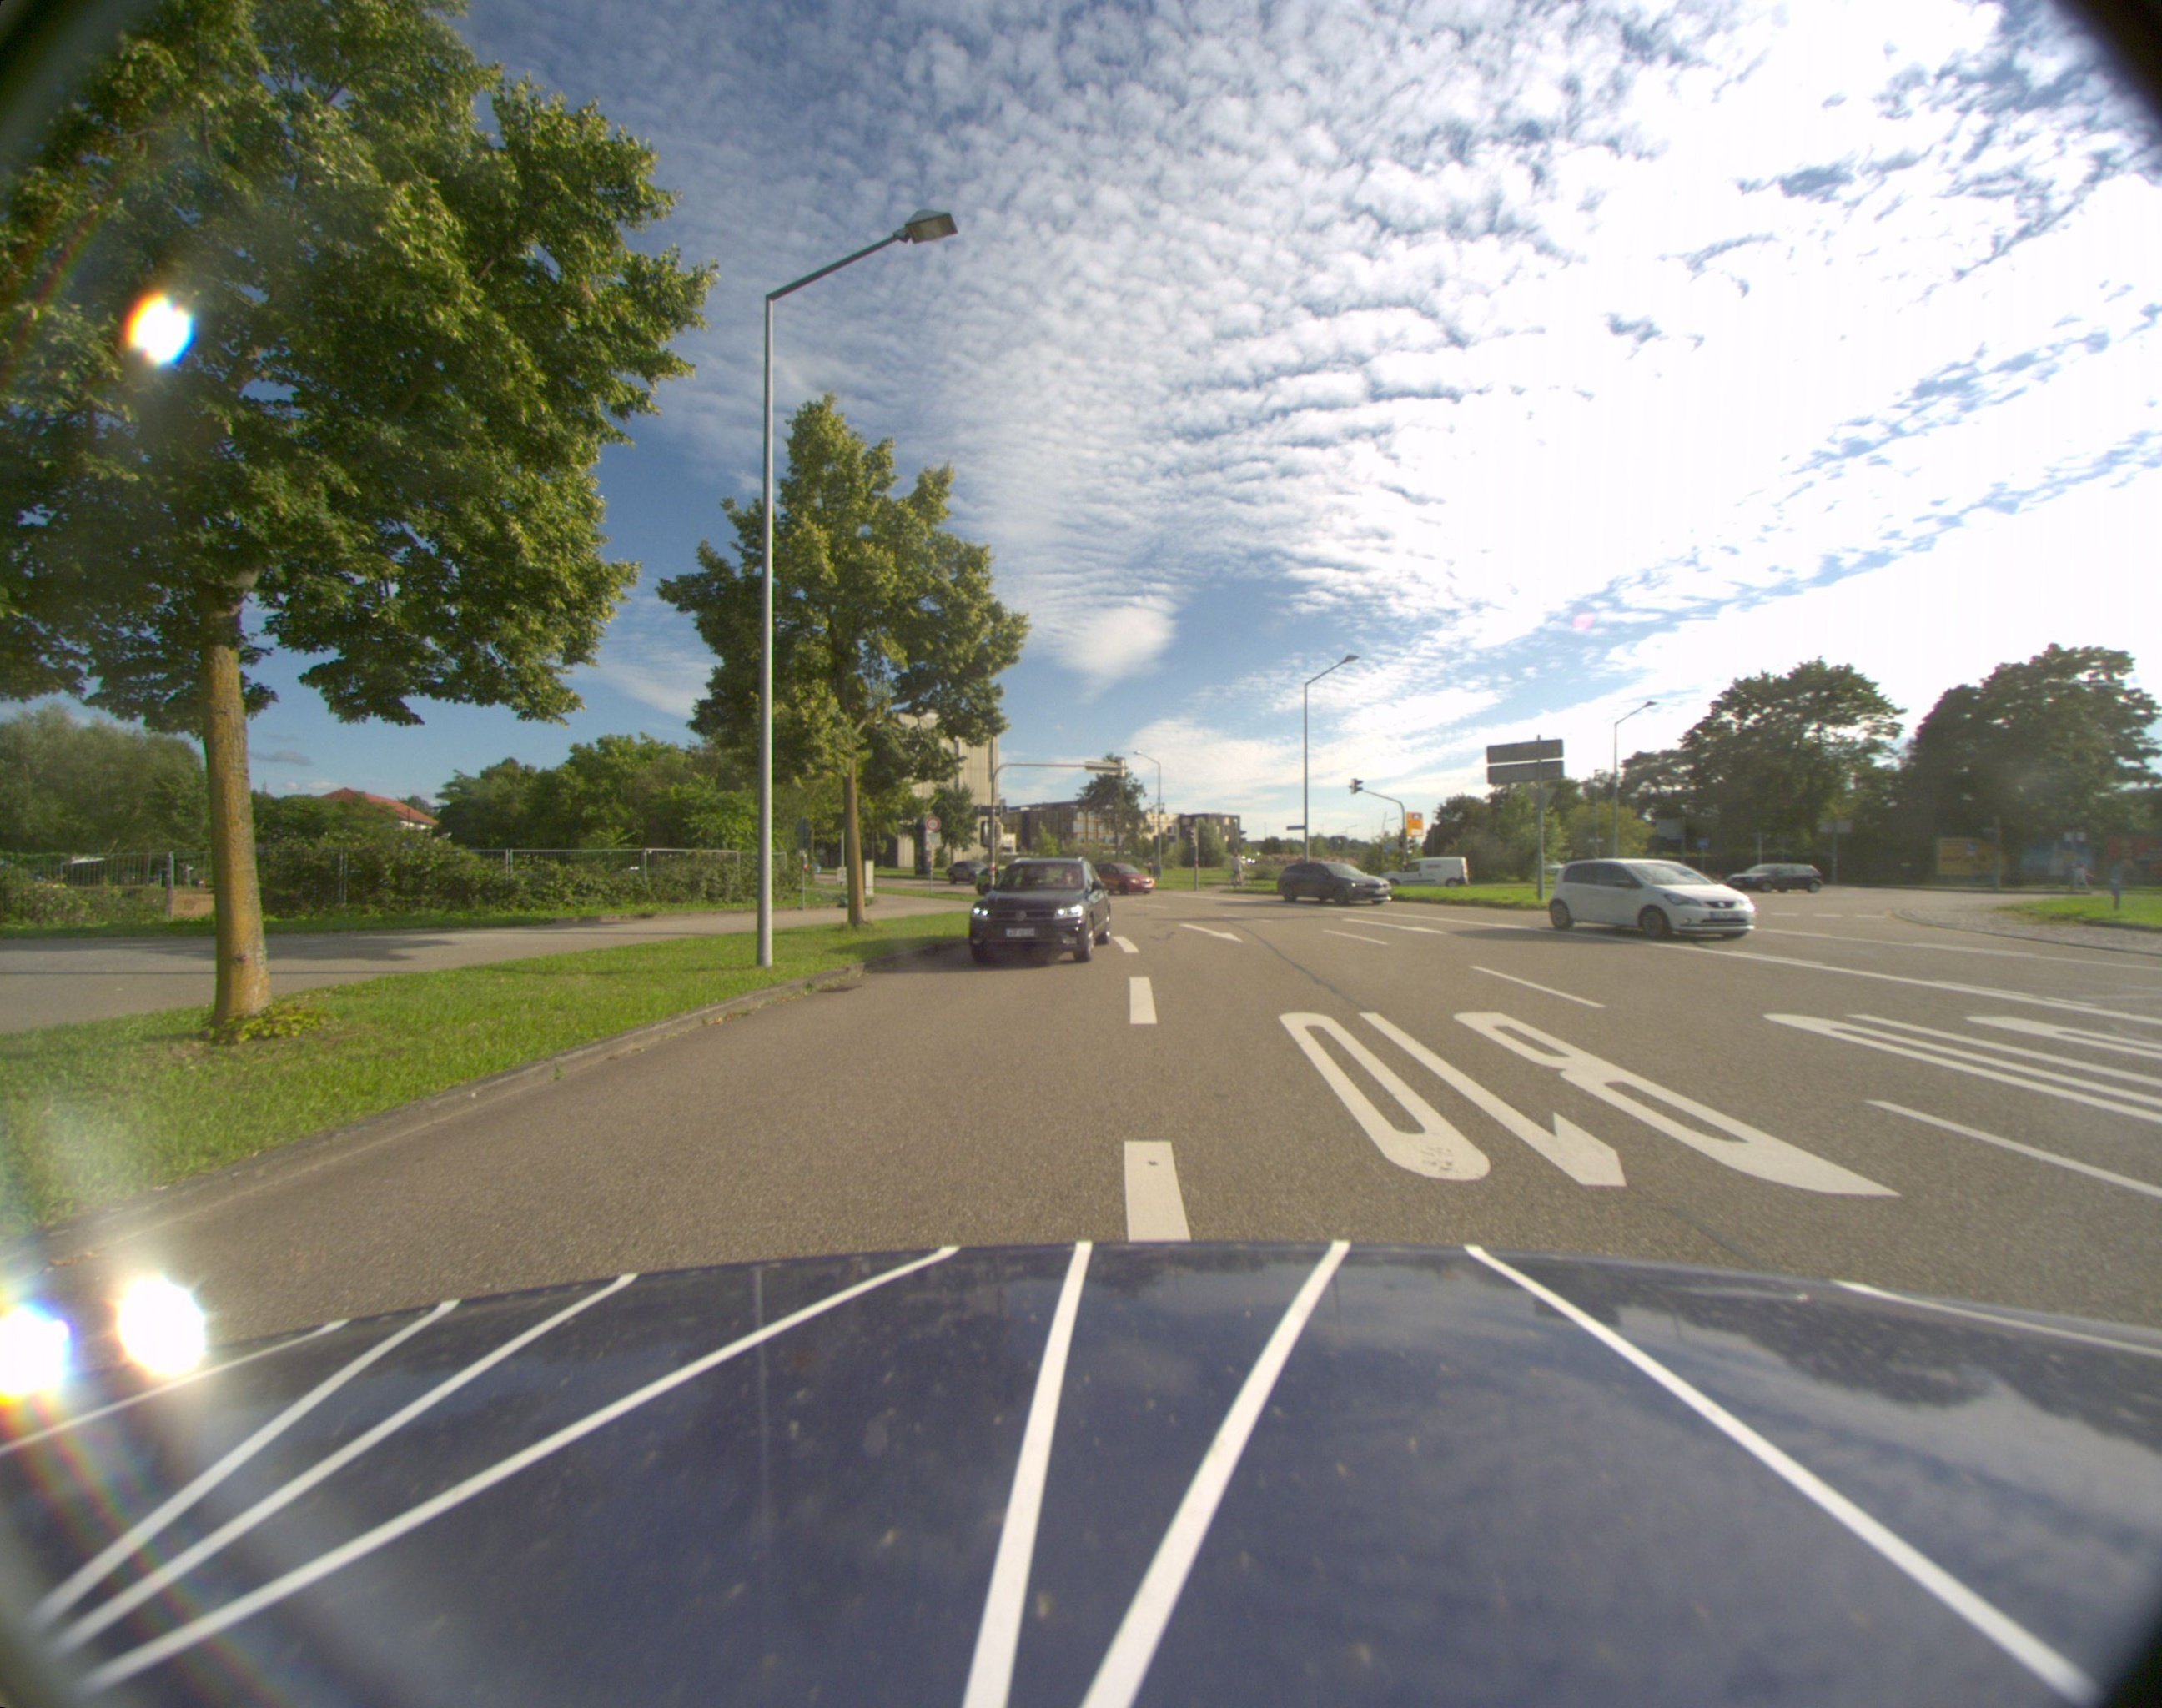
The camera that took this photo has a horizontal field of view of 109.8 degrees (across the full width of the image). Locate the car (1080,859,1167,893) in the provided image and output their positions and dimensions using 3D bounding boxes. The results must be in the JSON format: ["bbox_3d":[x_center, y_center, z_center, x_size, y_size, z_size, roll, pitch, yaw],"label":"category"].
[{"bbox_3d":[1.956,0.996,36.280,1.698,1.466,4.215,-2,1,-40],"label":"car"}]

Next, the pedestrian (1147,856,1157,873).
[{"bbox_3d":[6.667,0.963,71.318,0.630,1.500,0.754,-4,3,-35],"label":"pedestrian"}]

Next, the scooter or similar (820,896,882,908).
[{"bbox_3d":[-7.738,1.606,25.650,1.290,0.279,1.556,0,0,28],"label":"scooter or similar"}]

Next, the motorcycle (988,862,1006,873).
[{"bbox_3d":[-7.678,1.186,69.484,0.786,0.980,2.018,0,0,-36],"label":"motorcycle"}]

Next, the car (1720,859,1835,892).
[{"bbox_3d":[34.119,1.065,37.314,3.990,1.492,1.687,1,-1,4],"label":"car"}]

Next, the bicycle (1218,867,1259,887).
[{"bbox_3d":[8.195,1.174,39.480,1.965,1.001,0.999,0,0,-34],"label":"bicycle"}]

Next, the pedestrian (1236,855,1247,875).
[{"bbox_3d":[13.100,0.883,62.060,0.630,1.620,0.656,-2,1,-36],"label":"pedestrian"}]

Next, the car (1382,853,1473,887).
[{"bbox_3d":[19.679,0.918,43.226,4.549,1.813,1.689,0,-1,29],"label":"car"}]

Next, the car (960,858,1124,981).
[{"bbox_3d":[-0.436,0.935,13.346,1.870,1.685,5.018,0,0,9],"label":"car"}]

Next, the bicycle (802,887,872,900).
[{"bbox_3d":[-9.071,1.475,28.285,2.246,0.344,1.092,-3,0,18],"label":"bicycle"}]

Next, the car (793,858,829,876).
[{"bbox_3d":[-27.558,1.299,77.425,2.004,1.652,4.789,0,0,-39],"label":"car"}]

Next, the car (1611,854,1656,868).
[{"bbox_3d":[56.521,0.698,77.817,1.767,1.412,3.999,-1,1,1],"label":"car"}]

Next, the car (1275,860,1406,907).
[{"bbox_3d":[8.981,0.958,26.680,1.826,1.412,4.438,-1,1,-24],"label":"car"}]

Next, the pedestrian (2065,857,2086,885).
[{"bbox_3d":[57.007,0.978,43.561,0.547,1.615,0.506,0,1,1],"label":"pedestrian"}]

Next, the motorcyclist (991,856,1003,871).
[{"bbox_3d":[-7.690,0.855,69.500,0.786,1.358,0.941,0,0,-37],"label":"motorcyclist"}]

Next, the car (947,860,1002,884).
[{"bbox_3d":[-7.172,1.159,50.913,1.698,1.466,4.215,-1,1,-41],"label":"car"}]

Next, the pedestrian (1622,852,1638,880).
[{"bbox_3d":[38.471,0.841,53.237,0.864,1.905,0.898,0,2,34],"label":"pedestrian"}]

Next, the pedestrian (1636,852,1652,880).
[{"bbox_3d":[39.293,0.822,53.029,0.864,1.905,0.898,0,2,34],"label":"pedestrian"}]

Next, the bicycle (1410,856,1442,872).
[{"bbox_3d":[22.113,0.648,48.740,1.837,0.982,0.611,0,0,-6],"label":"bicycle"}]

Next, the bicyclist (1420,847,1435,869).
[{"bbox_3d":[22.225,0.248,48.746,0.698,1.437,0.611,1,0,-6],"label":"bicyclist"}]

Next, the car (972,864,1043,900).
[{"bbox_3d":[-3.517,1.245,35.530,1.899,1.412,4.598,-3,1,-24],"label":"car"}]

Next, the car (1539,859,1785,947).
[{"bbox_3d":[10.952,0.850,14.687,1.766,1.455,3.658,-1,0,-5],"label":"car"}]

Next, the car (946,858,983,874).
[{"bbox_3d":[-11.623,1.196,75.565,1.787,1.492,3.983,2,-2,-40],"label":"car"}]

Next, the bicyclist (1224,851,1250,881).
[{"bbox_3d":[8.086,0.601,39.404,0.867,1.547,0.995,0,1,-33],"label":"bicyclist"}]
